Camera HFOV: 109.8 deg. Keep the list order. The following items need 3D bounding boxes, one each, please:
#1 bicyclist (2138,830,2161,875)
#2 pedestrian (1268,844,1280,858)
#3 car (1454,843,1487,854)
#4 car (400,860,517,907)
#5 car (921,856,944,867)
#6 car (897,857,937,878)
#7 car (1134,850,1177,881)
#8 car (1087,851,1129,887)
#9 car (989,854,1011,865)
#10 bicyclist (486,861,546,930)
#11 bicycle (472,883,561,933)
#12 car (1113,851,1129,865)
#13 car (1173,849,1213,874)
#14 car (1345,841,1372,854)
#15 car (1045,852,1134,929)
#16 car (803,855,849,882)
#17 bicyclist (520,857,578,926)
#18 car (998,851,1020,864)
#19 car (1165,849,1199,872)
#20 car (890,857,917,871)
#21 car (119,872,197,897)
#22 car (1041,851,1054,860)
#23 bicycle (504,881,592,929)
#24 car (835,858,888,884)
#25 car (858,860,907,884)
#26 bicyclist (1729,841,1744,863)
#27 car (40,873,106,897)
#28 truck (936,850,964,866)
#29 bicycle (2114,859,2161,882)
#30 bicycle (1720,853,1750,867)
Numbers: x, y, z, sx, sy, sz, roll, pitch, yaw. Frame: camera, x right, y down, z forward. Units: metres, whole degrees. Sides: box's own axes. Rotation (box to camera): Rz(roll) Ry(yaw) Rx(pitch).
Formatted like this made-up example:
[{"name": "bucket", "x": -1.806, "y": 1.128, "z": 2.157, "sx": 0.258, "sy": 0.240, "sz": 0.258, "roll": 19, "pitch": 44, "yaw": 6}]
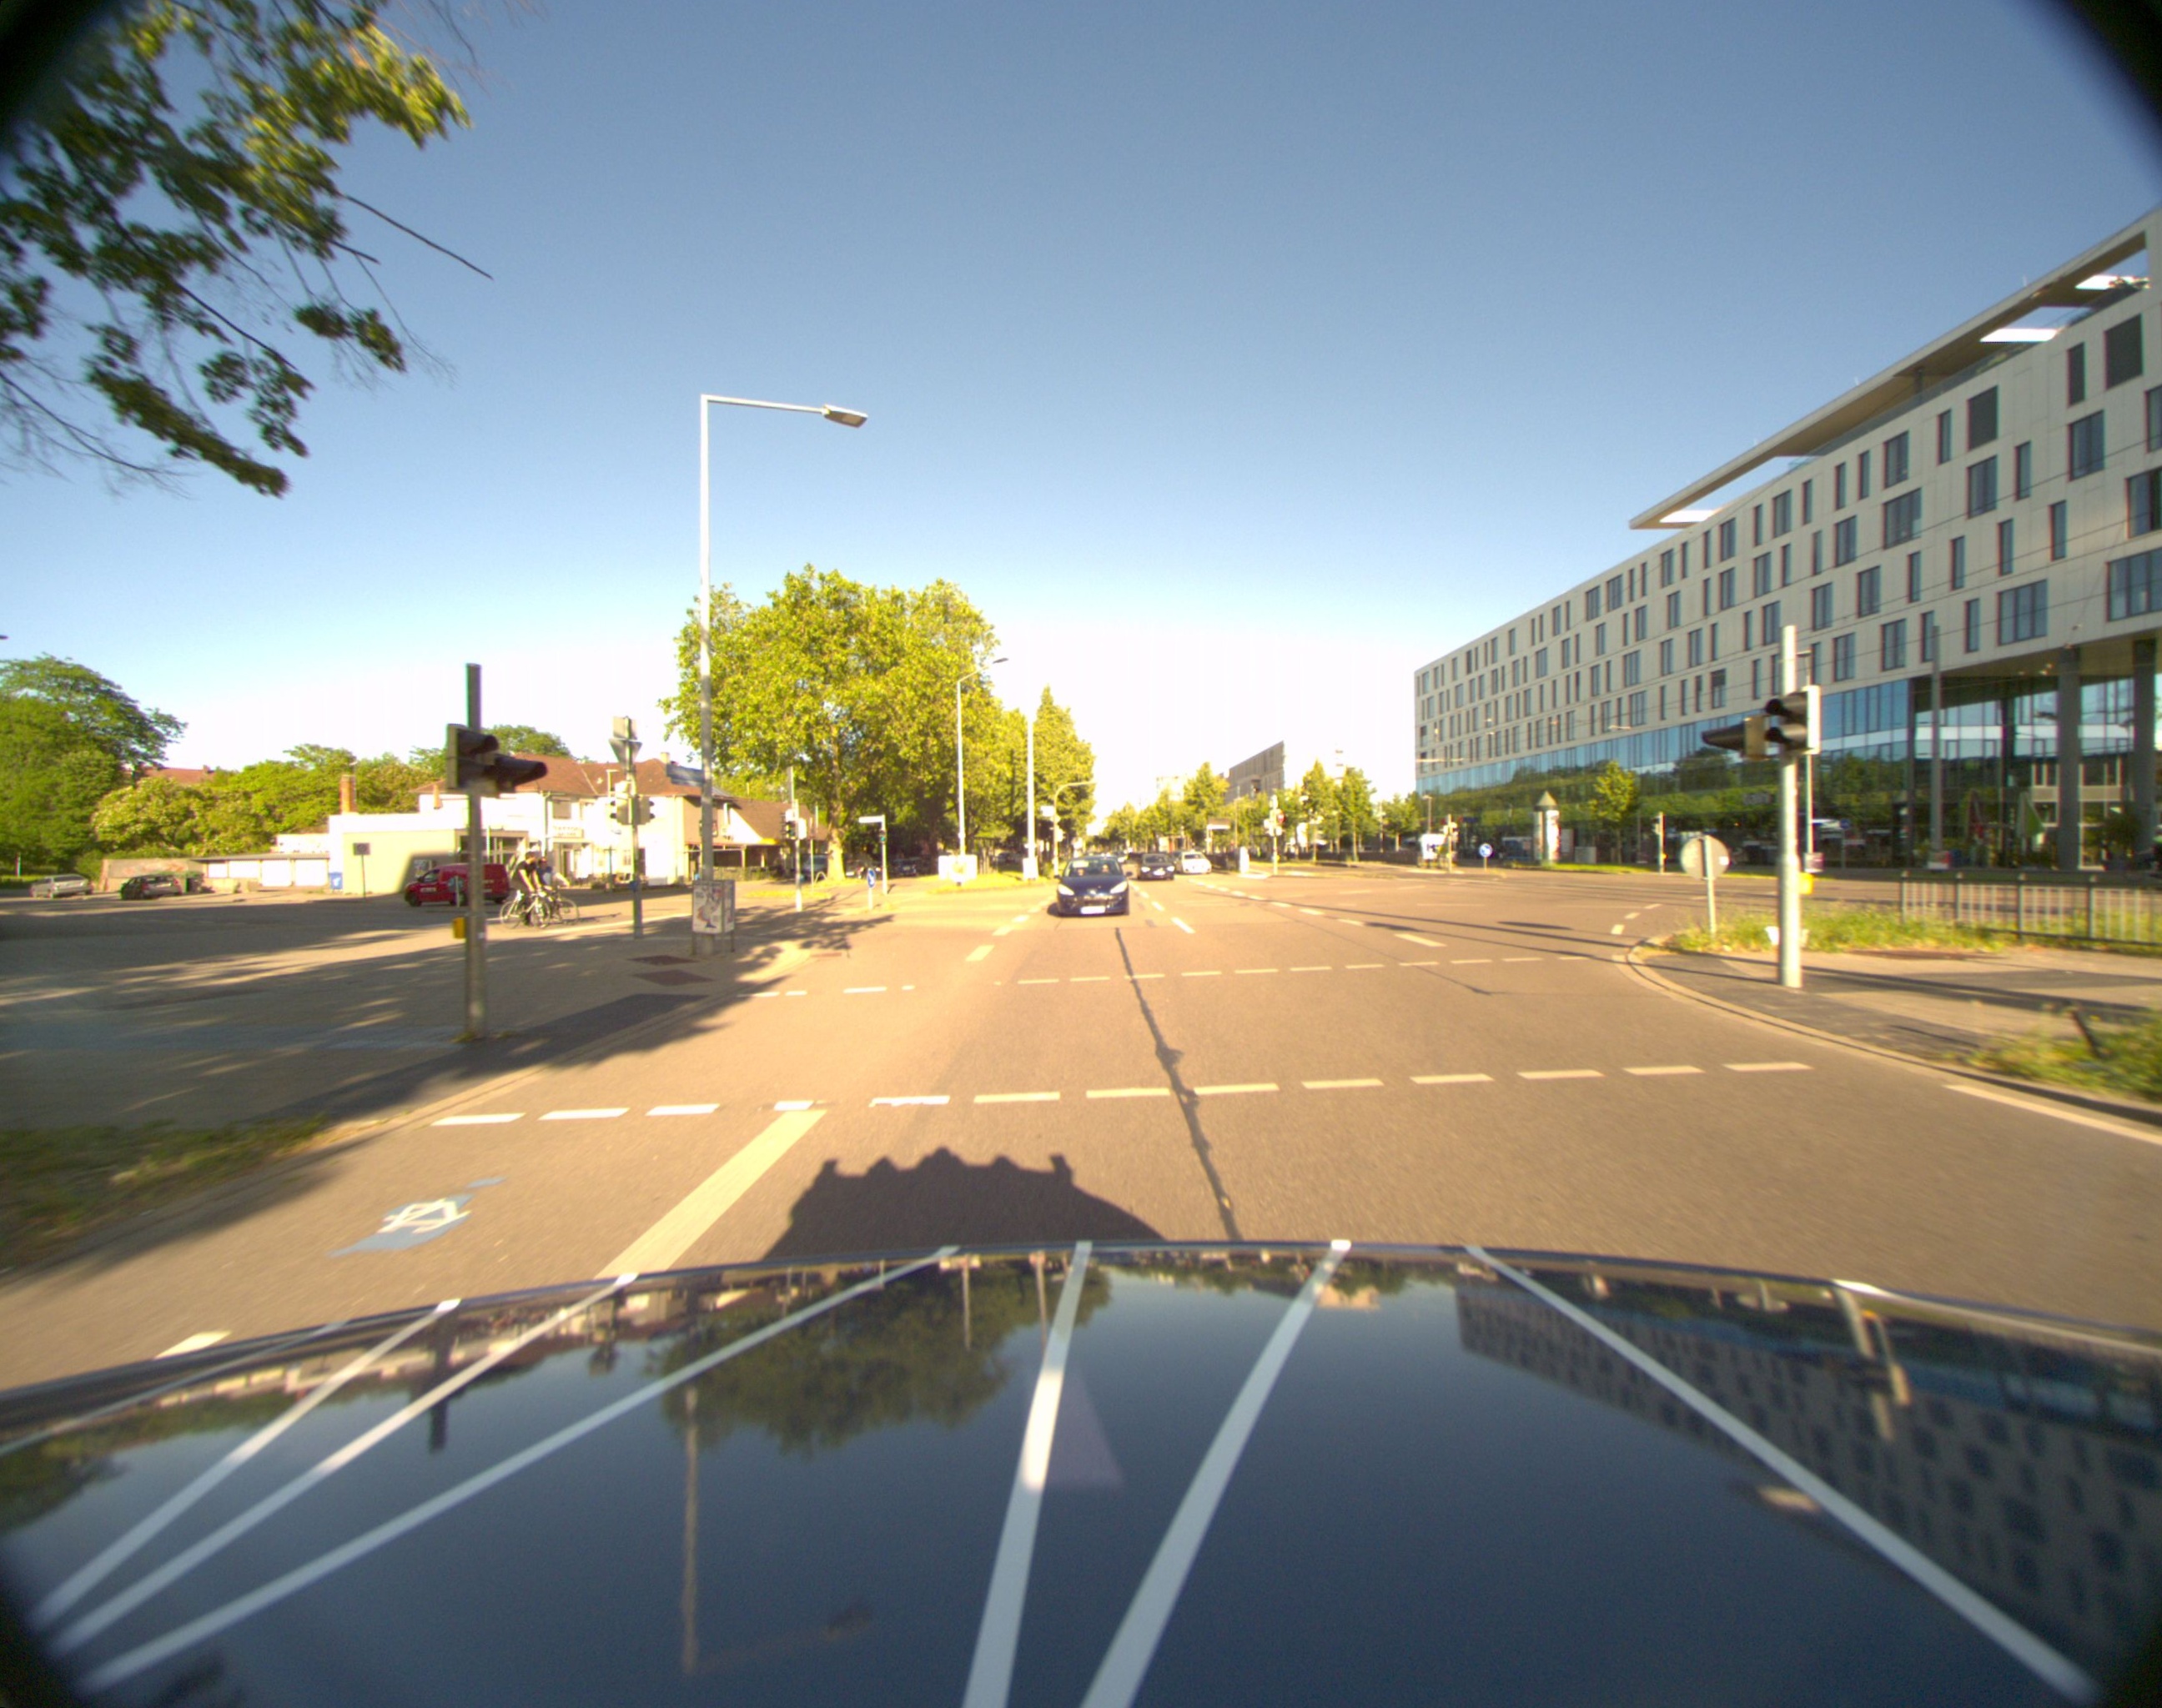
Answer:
[{"name": "bicyclist", "x": 42.319, "y": -0.064, "z": 29.806, "sx": 0.531, "sy": 1.716, "sz": 0.837, "roll": -1, "pitch": 1, "yaw": 1}, {"name": "pedestrian", "x": 21.038, "y": -0.359, "z": 82.941, "sx": 1.068, "sy": 1.458, "sz": 0.844, "roll": -2, "pitch": 1, "yaw": 5}, {"name": "car", "x": 58.436, "y": -0.819, "z": 114.048, "sx": 3.998, "sy": 1.347, "sz": 1.875, "roll": -3, "pitch": 1, "yaw": -4}, {"name": "car", "x": -26.519, "y": 1.246, "z": 32.393, "sx": 4.106, "sy": 1.803, "sz": 1.857, "roll": -2, "pitch": -1, "yaw": 17}, {"name": "car", "x": -19.251, "y": 0.962, "z": 98.698, "sx": 1.795, "sy": 1.394, "sz": 4.172, "roll": -2, "pitch": 0, "yaw": 3}, {"name": "car", "x": -13.222, "y": 1.058, "z": 61.493, "sx": 1.898, "sy": 1.479, "sz": 4.347, "roll": -2, "pitch": 0, "yaw": 4}, {"name": "car", "x": 4.008, "y": 0.602, "z": 41.581, "sx": 1.803, "sy": 1.518, "sz": 4.342, "roll": -3, "pitch": 0, "yaw": -1}, {"name": "car", "x": 1.311, "y": 0.670, "z": 36.408, "sx": 1.803, "sy": 1.518, "sz": 4.606, "roll": -3, "pitch": 0, "yaw": 3}, {"name": "car", "x": -10.503, "y": 0.674, "z": 98.873, "sx": 1.998, "sy": 1.355, "sz": 4.866, "roll": -2, "pitch": 0, "yaw": 3}, {"name": "bicyclist", "x": -13.905, "y": 1.003, "z": 18.721, "sx": 0.876, "sy": 1.644, "sz": 0.794, "roll": -1, "pitch": 0, "yaw": 11}, {"name": "bicycle", "x": -13.925, "y": 1.315, "z": 18.745, "sx": 2.100, "sy": 1.196, "sz": 0.552, "roll": -1, "pitch": 0, "yaw": 15}, {"name": "car", "x": 4.736, "y": 0.455, "z": 89.761, "sx": 1.675, "sy": 1.418, "sz": 4.005, "roll": -3, "pitch": 0, "yaw": 1}, {"name": "car", "x": 7.146, "y": 0.456, "z": 48.839, "sx": 1.676, "sy": 1.418, "sz": 4.004, "roll": -3, "pitch": 0, "yaw": -3}, {"name": "car", "x": 35.012, "y": -0.765, "z": 95.940, "sx": 1.803, "sy": 1.518, "sz": 4.342, "roll": -3, "pitch": 0, "yaw": -1}, {"name": "car", "x": 0.300, "y": 0.767, "z": 18.442, "sx": 1.803, "sy": 1.518, "sz": 4.606, "roll": -3, "pitch": 0, "yaw": 3}, {"name": "car", "x": -21.069, "y": 1.158, "z": 62.936, "sx": 1.898, "sy": 2.025, "sz": 5.071, "roll": 0, "pitch": 1, "yaw": 2}, {"name": "bicyclist", "x": -13.742, "y": 0.948, "z": 19.638, "sx": 0.876, "sy": 1.727, "sz": 0.833, "roll": -1, "pitch": 0, "yaw": 11}, {"name": "car", "x": -9.870, "y": 0.488, "z": 104.243, "sx": 1.998, "sy": 1.587, "sz": 4.656, "roll": -2, "pitch": 0, "yaw": 6}, {"name": "car", "x": 7.307, "y": 0.439, "z": 55.363, "sx": 1.803, "sy": 1.518, "sz": 4.342, "roll": -3, "pitch": 0, "yaw": -1}, {"name": "car", "x": -20.152, "y": 1.095, "z": 86.618, "sx": 1.999, "sy": 1.520, "sz": 4.654, "roll": 1, "pitch": 0, "yaw": -1}, {"name": "car", "x": -58.239, "y": 1.914, "z": 47.941, "sx": 3.990, "sy": 1.457, "sz": 2.003, "roll": -1, "pitch": 0, "yaw": 22}, {"name": "car", "x": -6.329, "y": 0.281, "z": 143.615, "sx": 1.998, "sy": 1.576, "sz": 4.000, "roll": -2, "pitch": 0, "yaw": 1}, {"name": "bicycle", "x": -13.808, "y": 1.308, "z": 19.679, "sx": 2.100, "sy": 1.196, "sz": 0.551, "roll": -1, "pitch": 0, "yaw": 11}, {"name": "car", "x": -13.704, "y": 1.050, "z": 47.673, "sx": 1.898, "sy": 1.457, "sz": 4.037, "roll": -2, "pitch": 0, "yaw": 3}, {"name": "car", "x": -13.548, "y": 1.197, "z": 52.151, "sx": 1.898, "sy": 1.403, "sz": 4.347, "roll": -2, "pitch": 0, "yaw": 4}, {"name": "bicyclist", "x": 42.049, "y": -0.114, "z": 48.765, "sx": 0.482, "sy": 1.414, "sz": 0.553, "roll": -1, "pitch": 1, "yaw": 1}, {"name": "car", "x": -68.908, "y": 2.136, "z": 51.926, "sx": 3.990, "sy": 1.457, "sz": 2.003, "roll": -2, "pitch": 0, "yaw": 27}, {"name": "truck", "x": -18.638, "y": 0.554, "z": 108.064, "sx": 2.454, "sy": 2.063, "sz": 6.581, "roll": -2, "pitch": 0, "yaw": 3}, {"name": "bicycle", "x": 42.333, "y": 0.637, "z": 30.029, "sx": 0.529, "sy": 0.858, "sz": 1.834, "roll": -1, "pitch": 0, "yaw": 1}, {"name": "bicycle", "x": 42.056, "y": 0.356, "z": 48.857, "sx": 0.482, "sy": 0.858, "sz": 1.692, "roll": -1, "pitch": 0, "yaw": 1}]
